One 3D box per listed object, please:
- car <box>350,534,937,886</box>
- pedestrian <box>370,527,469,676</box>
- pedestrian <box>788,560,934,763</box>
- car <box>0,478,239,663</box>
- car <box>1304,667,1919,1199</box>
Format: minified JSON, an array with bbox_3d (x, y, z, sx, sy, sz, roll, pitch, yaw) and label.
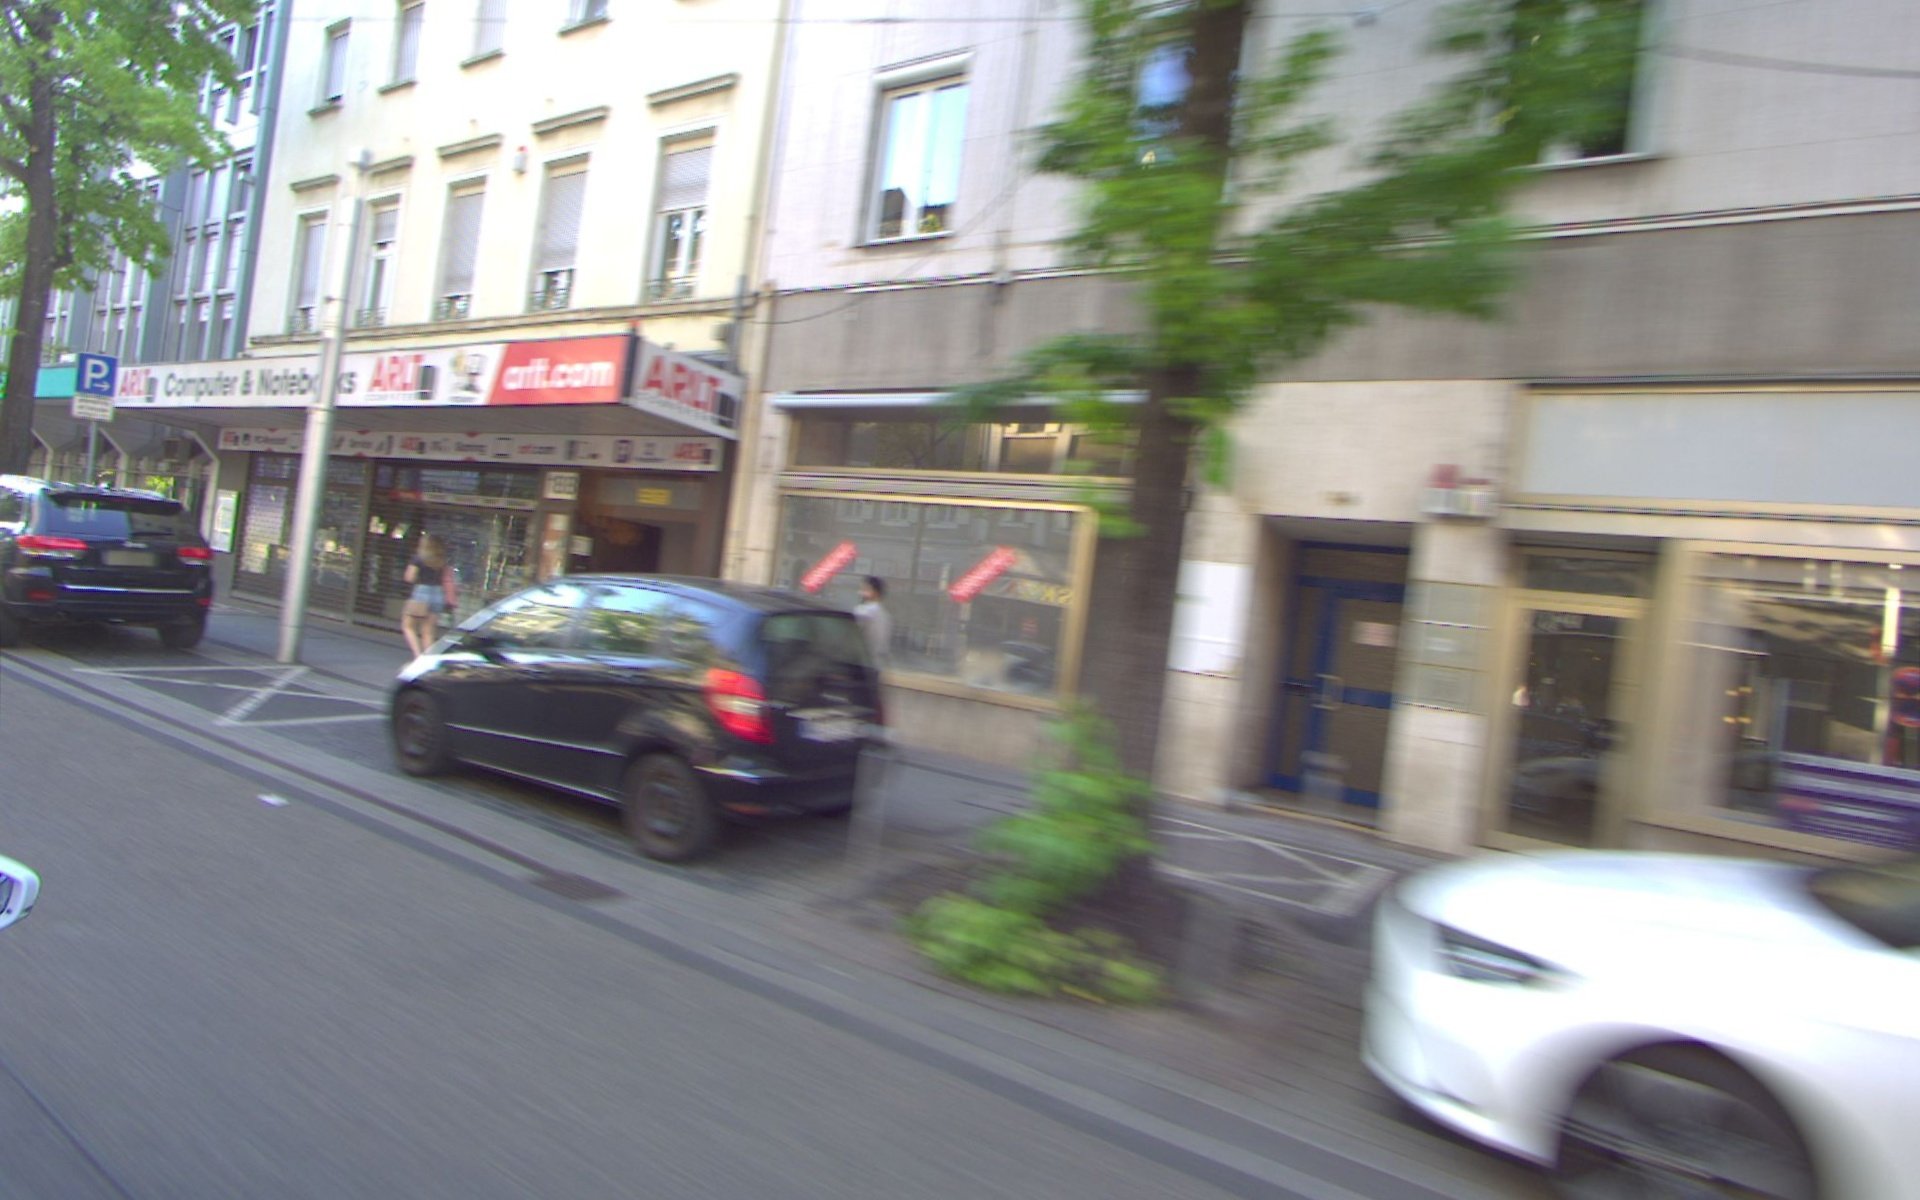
[{"bbox_3d":[-2.306,0.550,7.072,3.827,1.612,1.776,7,2,32],"label":"car"},{"bbox_3d":[-6.533,0.023,12.164,0.773,1.692,0.643,7,3,32],"label":"pedestrian"},{"bbox_3d":[-0.955,0.569,9.744,0.917,1.776,0.858,7,3,32],"label":"pedestrian"},{"bbox_3d":[-10.679,-0.472,11.821,4.602,1.783,1.938,7,2,32],"label":"car"},{"bbox_3d":[3.648,1.279,2.846,4.603,1.518,1.994,7,2,33],"label":"car"}]
